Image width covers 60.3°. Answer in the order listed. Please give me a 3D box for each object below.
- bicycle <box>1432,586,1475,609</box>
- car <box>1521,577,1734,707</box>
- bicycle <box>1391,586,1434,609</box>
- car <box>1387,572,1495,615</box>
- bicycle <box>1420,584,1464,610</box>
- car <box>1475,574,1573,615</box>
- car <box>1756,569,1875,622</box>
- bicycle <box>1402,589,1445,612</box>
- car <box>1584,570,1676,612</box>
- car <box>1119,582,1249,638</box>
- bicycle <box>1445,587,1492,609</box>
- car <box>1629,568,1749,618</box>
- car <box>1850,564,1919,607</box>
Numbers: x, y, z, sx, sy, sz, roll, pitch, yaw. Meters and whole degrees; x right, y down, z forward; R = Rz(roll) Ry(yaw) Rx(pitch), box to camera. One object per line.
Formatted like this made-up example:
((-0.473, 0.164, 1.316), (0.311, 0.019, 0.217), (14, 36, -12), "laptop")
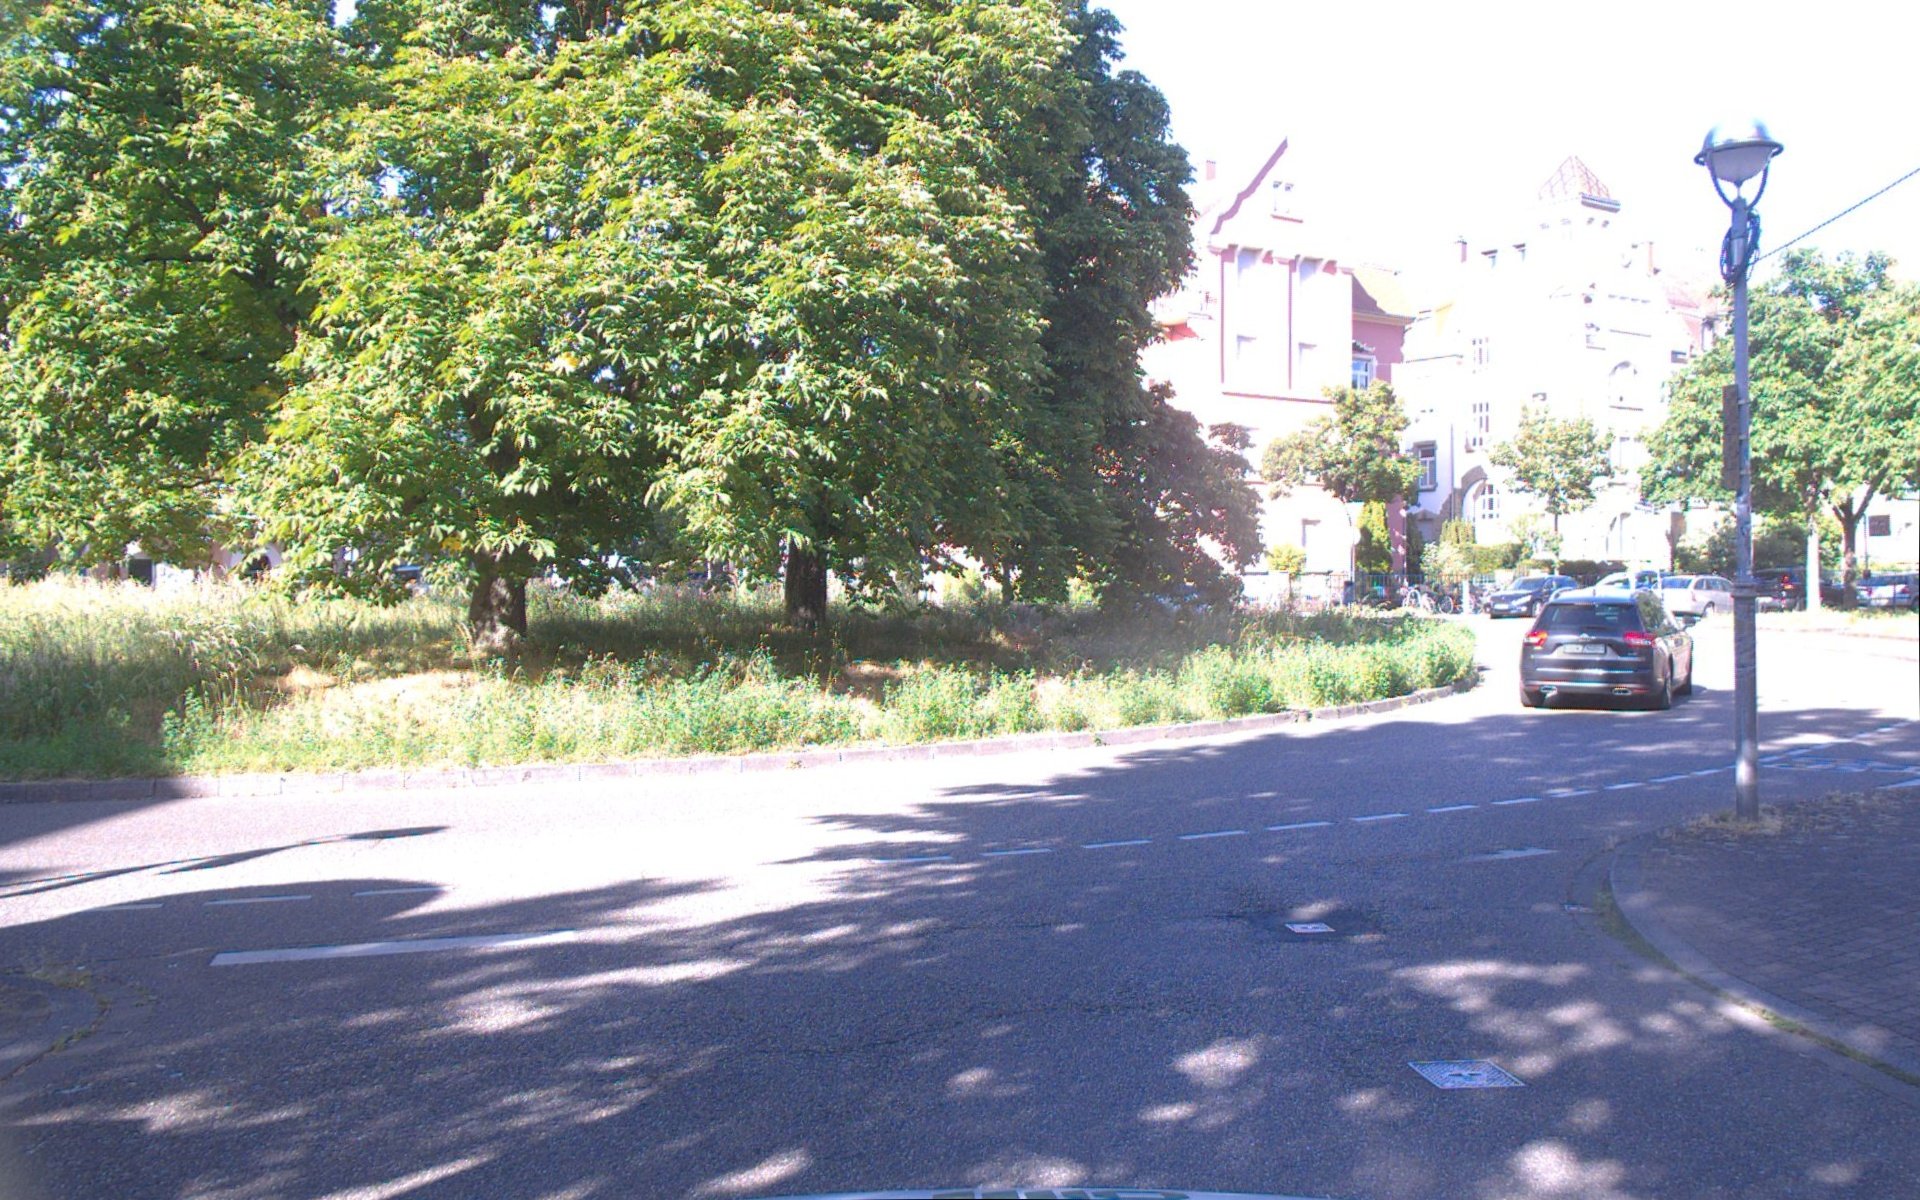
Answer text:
((18.482, -0.106, 62.034), (0.469, 0.837, 2.278), (-1, 1, -13), "bicycle")
((8.931, 0.484, 21.939), (1.685, 1.509, 4.129), (0, 1, 36), "car")
((16.602, -0.089, 60.760), (0.470, 0.814, 2.018), (-1, 1, -18), "bicycle")
((16.299, -0.229, 56.006), (3.606, 1.393, 1.736), (-1, 1, -38), "car")
((17.789, -0.104, 61.097), (0.469, 0.930, 2.278), (-1, 1, -13), "bicycle")
((20.262, -0.195, 59.332), (3.610, 1.393, 1.735), (-1, 1, -40), "car")
((25.253, -0.164, 48.808), (3.692, 1.480, 1.542), (-1, 1, -34), "car")
((17.141, 0.004, 61.174), (0.469, 0.814, 2.278), (-1, 1, -13), "bicycle")
((25.349, -0.359, 62.542), (3.435, 1.514, 1.651), (-1, 1, -35), "car")
((6.545, 0.269, 48.475), (3.585, 1.579, 1.549), (0, 1, 45), "car")
((19.131, -0.073, 62.252), (0.613, 0.799, 2.278), (-1, 1, -13), "bicycle")
((22.570, -0.236, 51.195), (3.928, 1.480, 1.542), (-1, 1, -34), "car")
((33.459, -0.531, 58.895), (3.412, 1.461, 1.643), (-1, 1, -32), "car")
